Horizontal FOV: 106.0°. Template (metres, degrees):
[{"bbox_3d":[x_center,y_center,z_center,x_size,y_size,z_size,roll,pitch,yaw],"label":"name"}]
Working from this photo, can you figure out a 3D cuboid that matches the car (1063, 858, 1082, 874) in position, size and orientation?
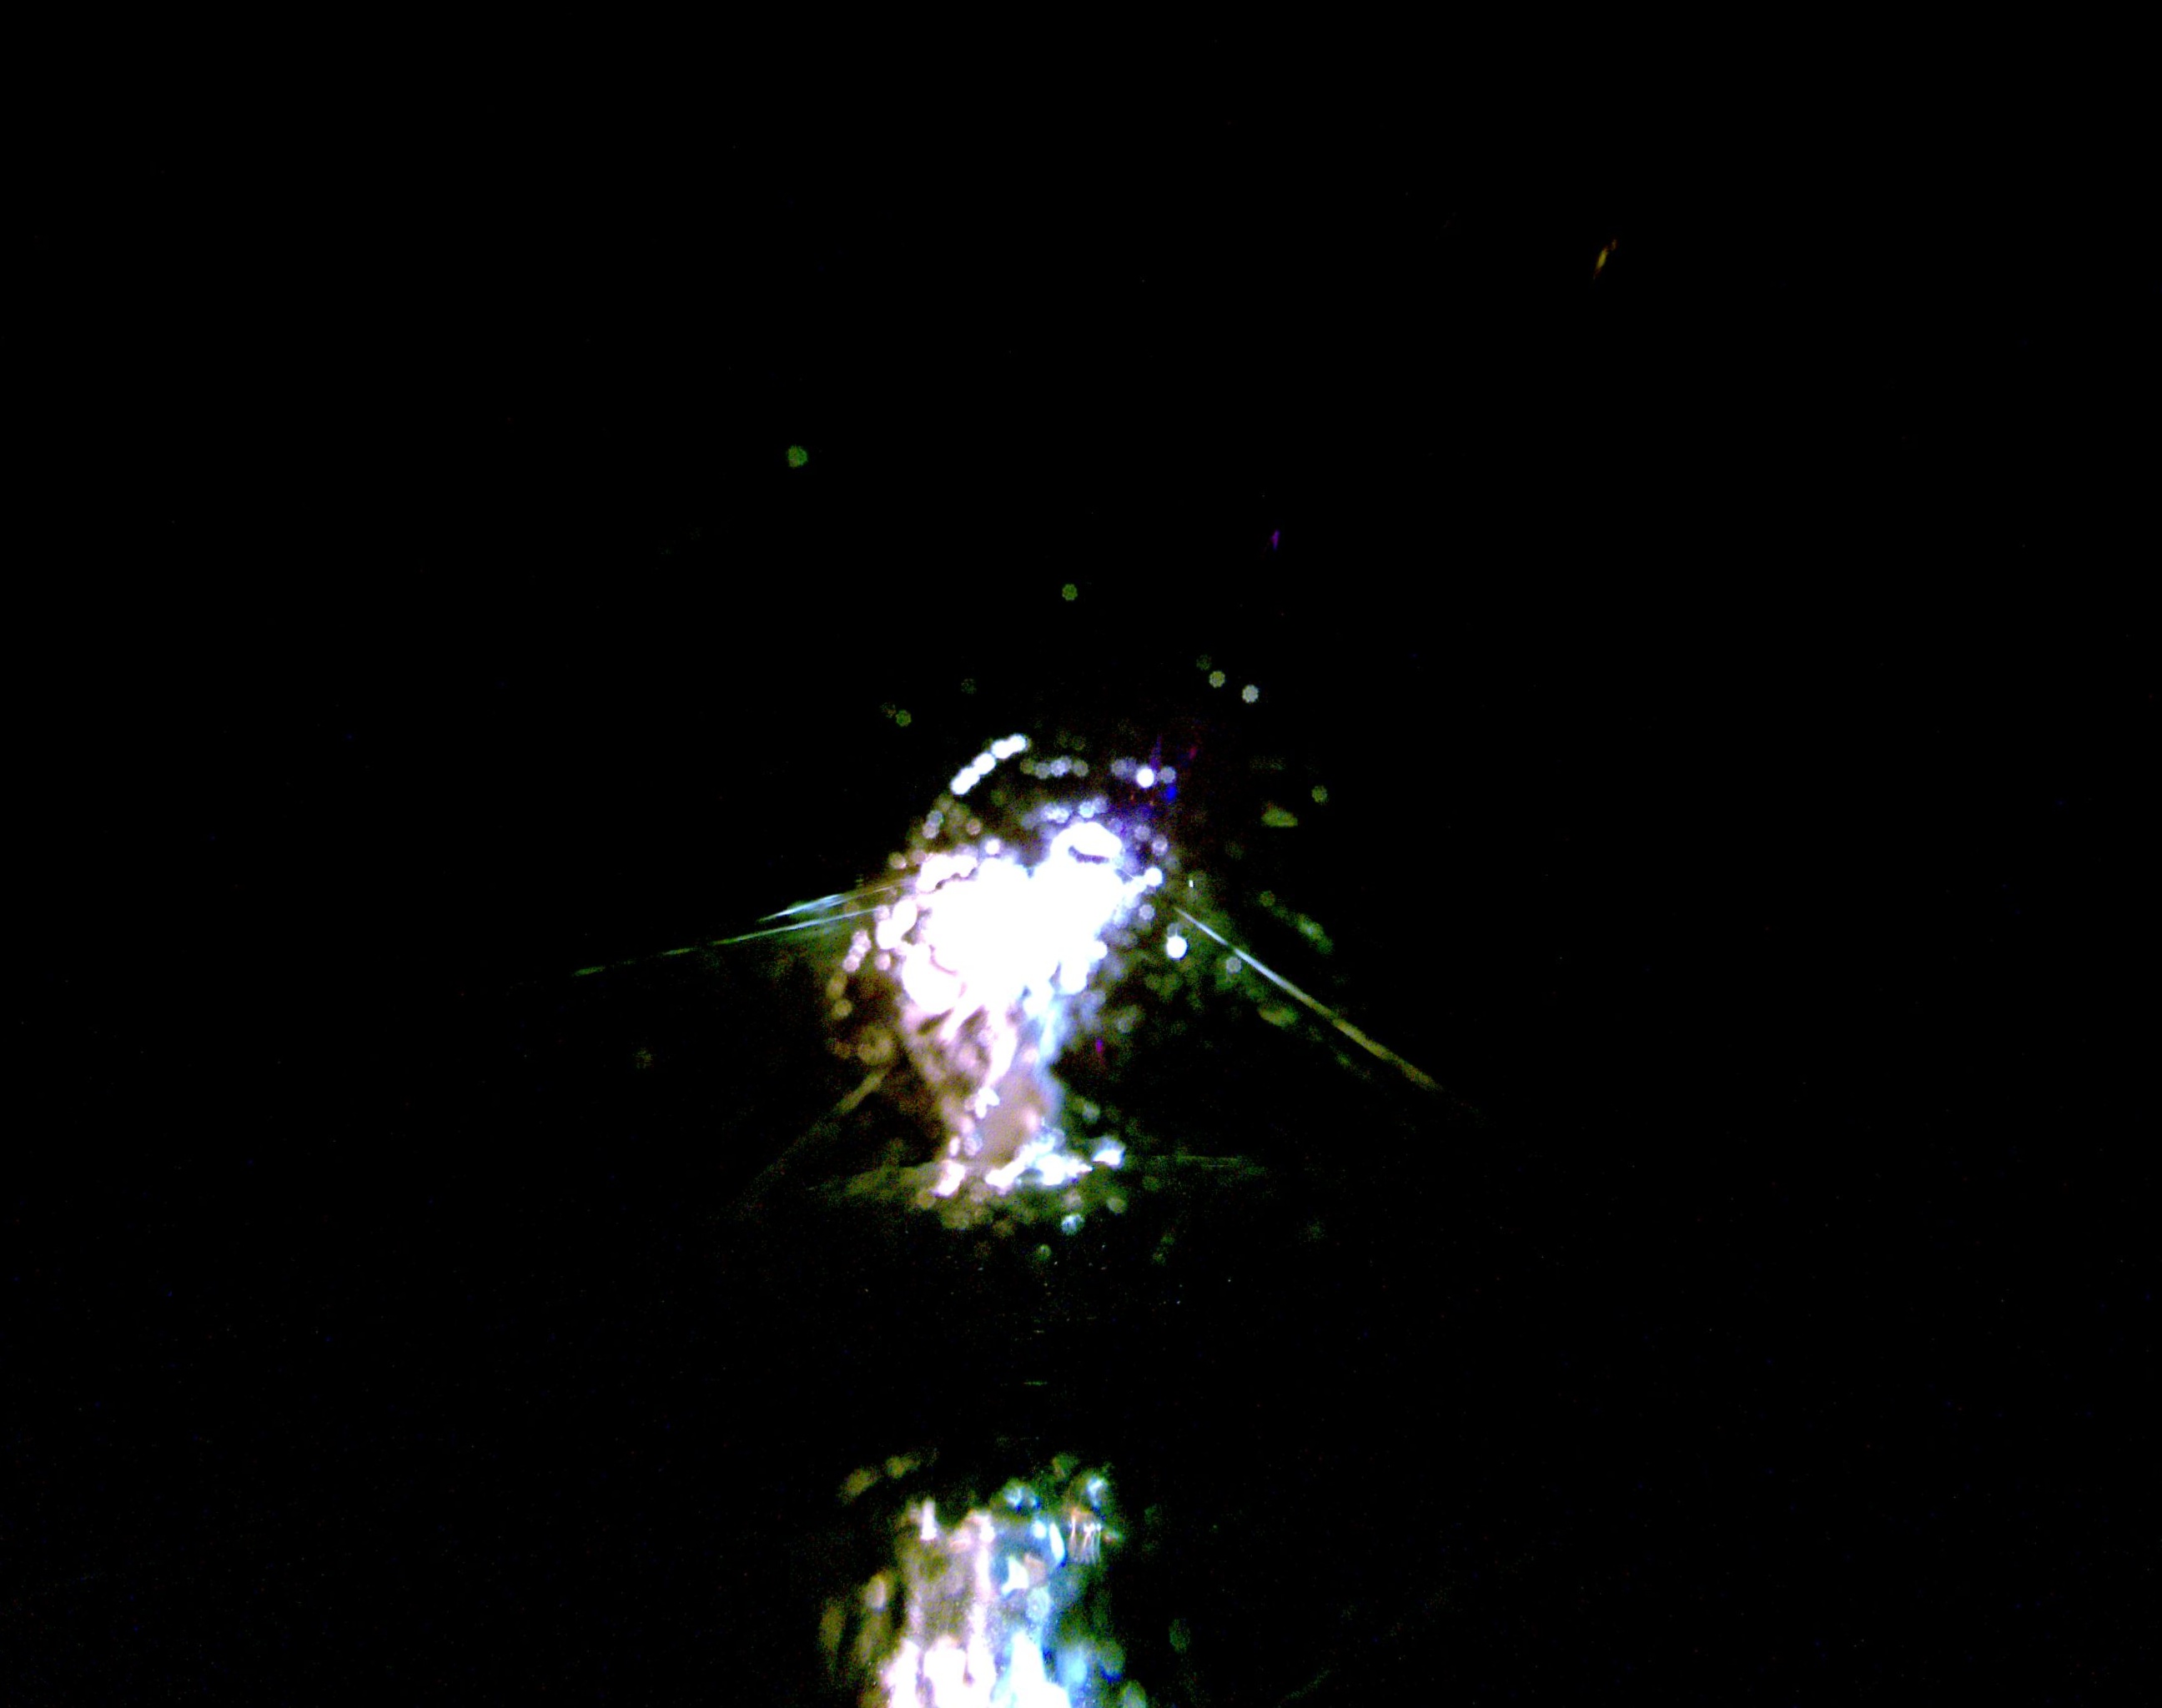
[{"bbox_3d":[-0.818,1.146,78.336,1.695,1.467,4.041,-2,0,0],"label":"car"}]

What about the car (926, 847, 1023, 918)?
[{"bbox_3d":[-2.770,0.697,22.011,1.881,1.671,4.002,-2,0,2],"label":"car"}]

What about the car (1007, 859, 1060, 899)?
[{"bbox_3d":[-2.040,1.051,35.941,1.881,1.586,4.002,-2,0,2],"label":"car"}]
